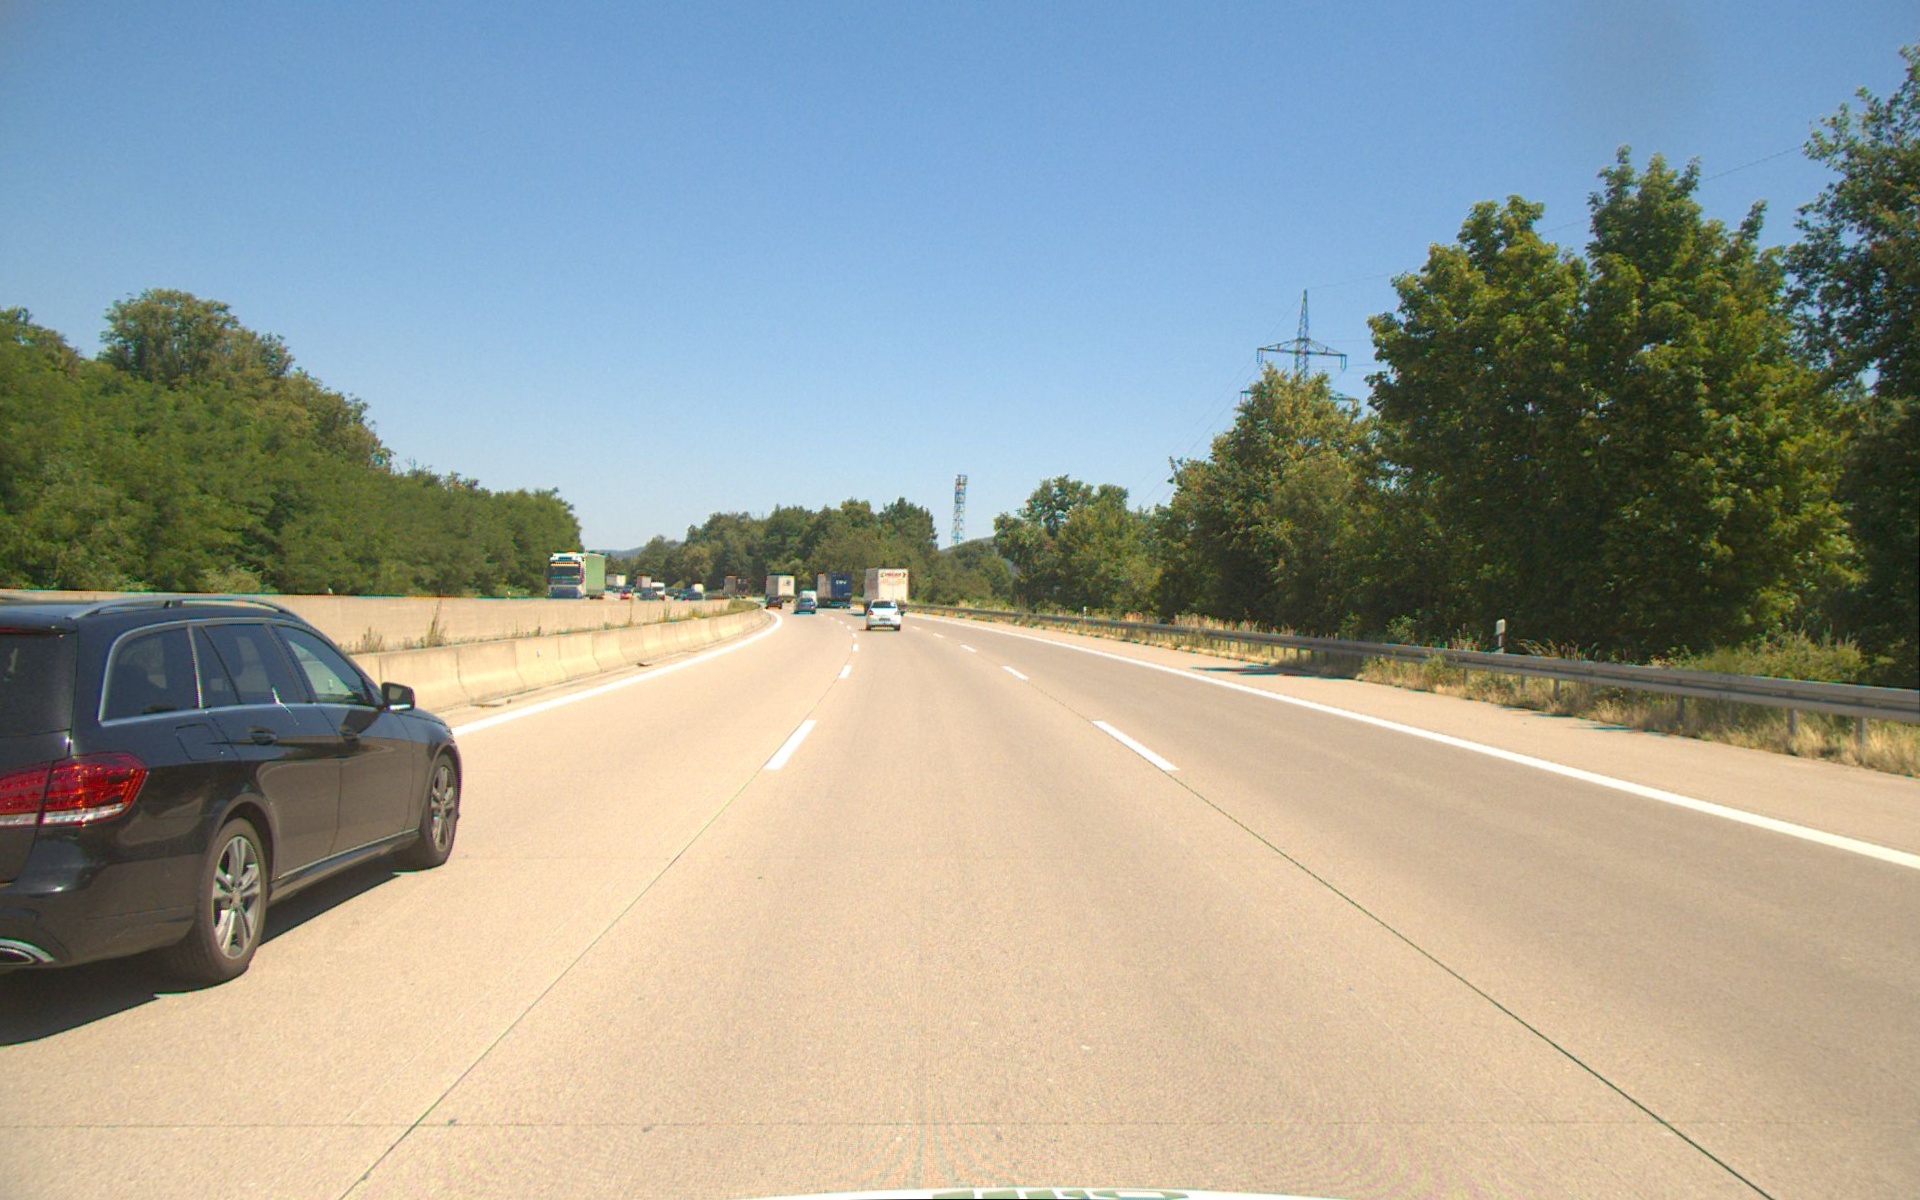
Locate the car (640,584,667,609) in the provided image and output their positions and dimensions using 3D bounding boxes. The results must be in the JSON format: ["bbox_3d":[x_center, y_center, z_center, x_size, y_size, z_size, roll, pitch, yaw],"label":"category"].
[{"bbox_3d":[-25.929,-0.291,139.935,1.826,2.049,3.996,2,0,-5],"label":"car"}]

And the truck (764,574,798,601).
[{"bbox_3d":[-28.474,-1.929,262.140,3.829,4.053,13.576,0,0,-13],"label":"truck"}]

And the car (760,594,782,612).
[{"bbox_3d":[-21.194,0.350,185.712,1.987,1.729,3.989,6,0,-11],"label":"car"}]

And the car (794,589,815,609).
[{"bbox_3d":[-14.079,-0.097,149.449,1.581,1.755,3.564,0,0,-11],"label":"car"}]

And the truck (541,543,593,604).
[{"bbox_3d":[-26.765,-1.757,112.885,2.613,4.004,5.963,0,0,-5],"label":"truck"}]

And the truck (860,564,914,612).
[{"bbox_3d":[-6.492,-1.006,145.005,3.747,3.957,14.133,0,0,-6],"label":"truck"}]

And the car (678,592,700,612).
[{"bbox_3d":[-26.174,0.168,160.012,1.826,1.882,3.996,0,0,-5],"label":"car"}]

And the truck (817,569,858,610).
[{"bbox_3d":[-14.954,-1.206,200.339,3.835,4.824,14.020,0,0,-9],"label":"truck"}]

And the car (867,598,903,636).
[{"bbox_3d":[-3.743,0.820,82.780,1.609,1.690,3.358,5,0,-3],"label":"car"}]

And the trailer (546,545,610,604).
[{"bbox_3d":[-27.248,-1.735,118.521,2.630,4.004,13.232,0,0,-5],"label":"trailer"}]

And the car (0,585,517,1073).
[{"bbox_3d":[-3.726,0.689,7.874,1.852,1.499,5.602,1,0,-2],"label":"car"}]
